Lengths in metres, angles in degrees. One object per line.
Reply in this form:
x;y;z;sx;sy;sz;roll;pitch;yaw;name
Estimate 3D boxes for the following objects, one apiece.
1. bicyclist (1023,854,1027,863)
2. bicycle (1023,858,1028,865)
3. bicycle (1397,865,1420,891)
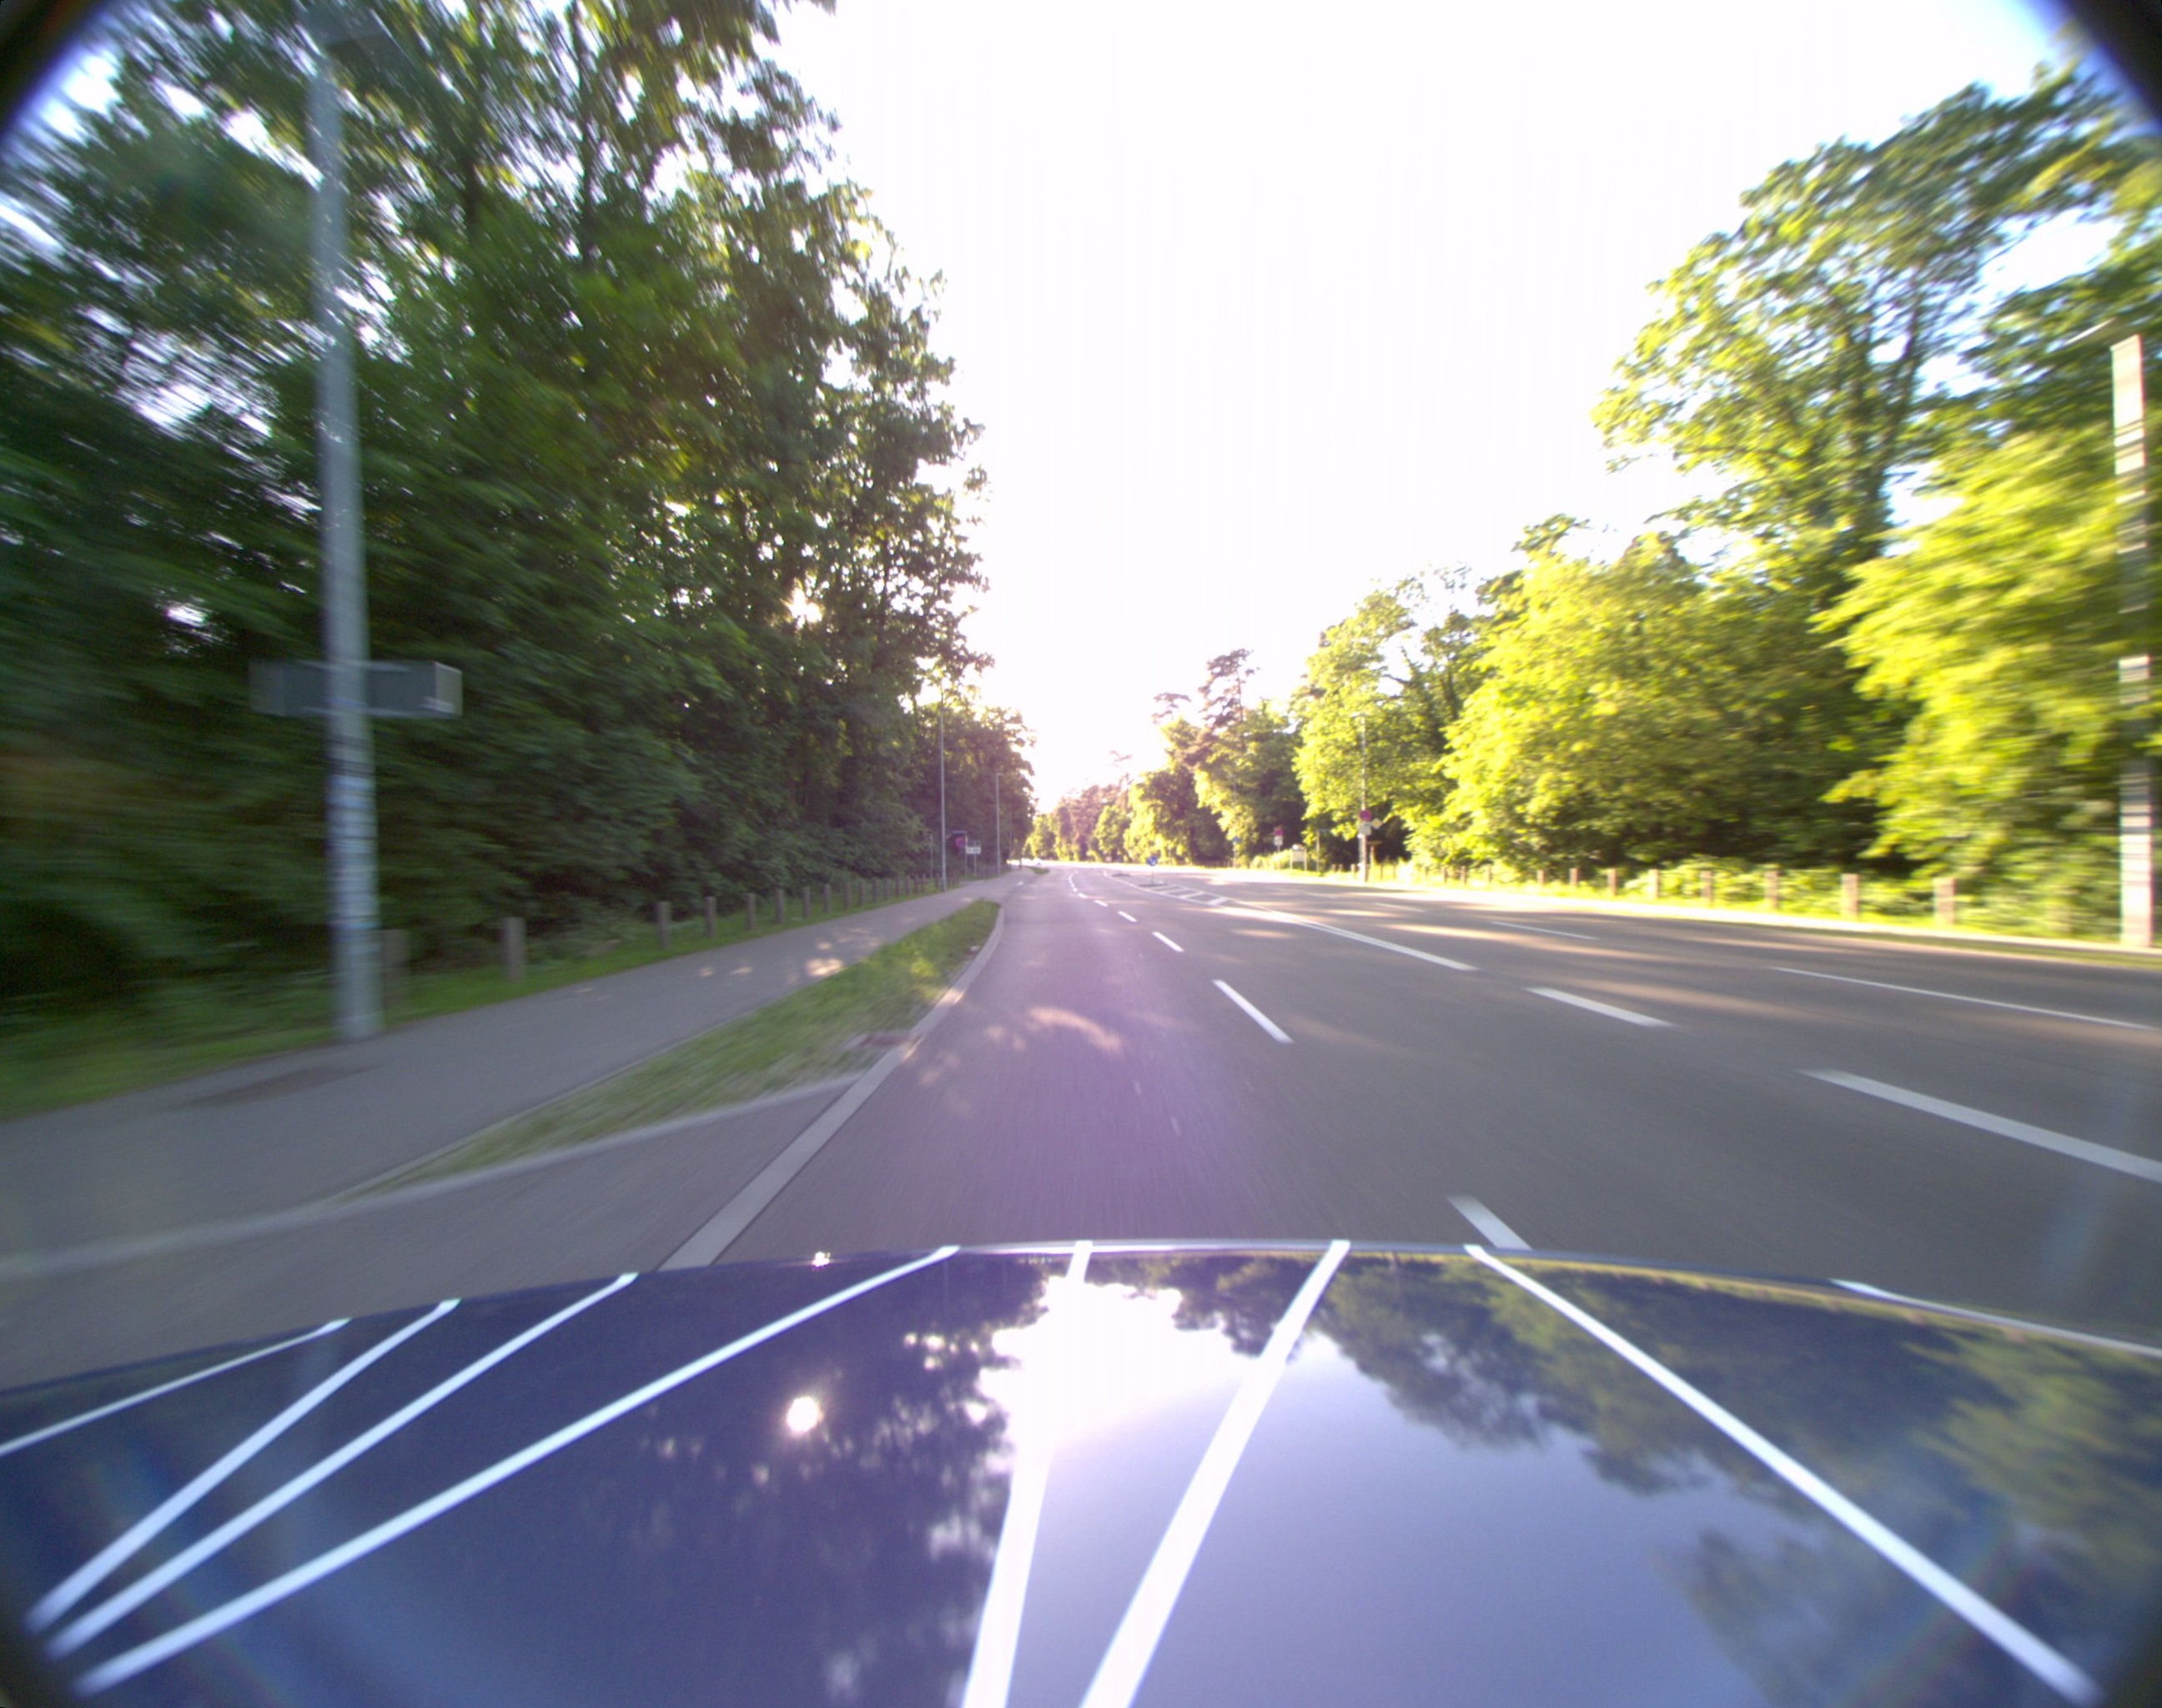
-8.415;0.644;113.570;0.514;1.260;0.497;-1;0;-7;bicyclist
-8.354;1.116;113.411;0.608;1.051;2.873;-1;0;-6;bicycle
15.070;1.085;34.996;0.402;1.125;2.221;-3;0;9;bicycle
